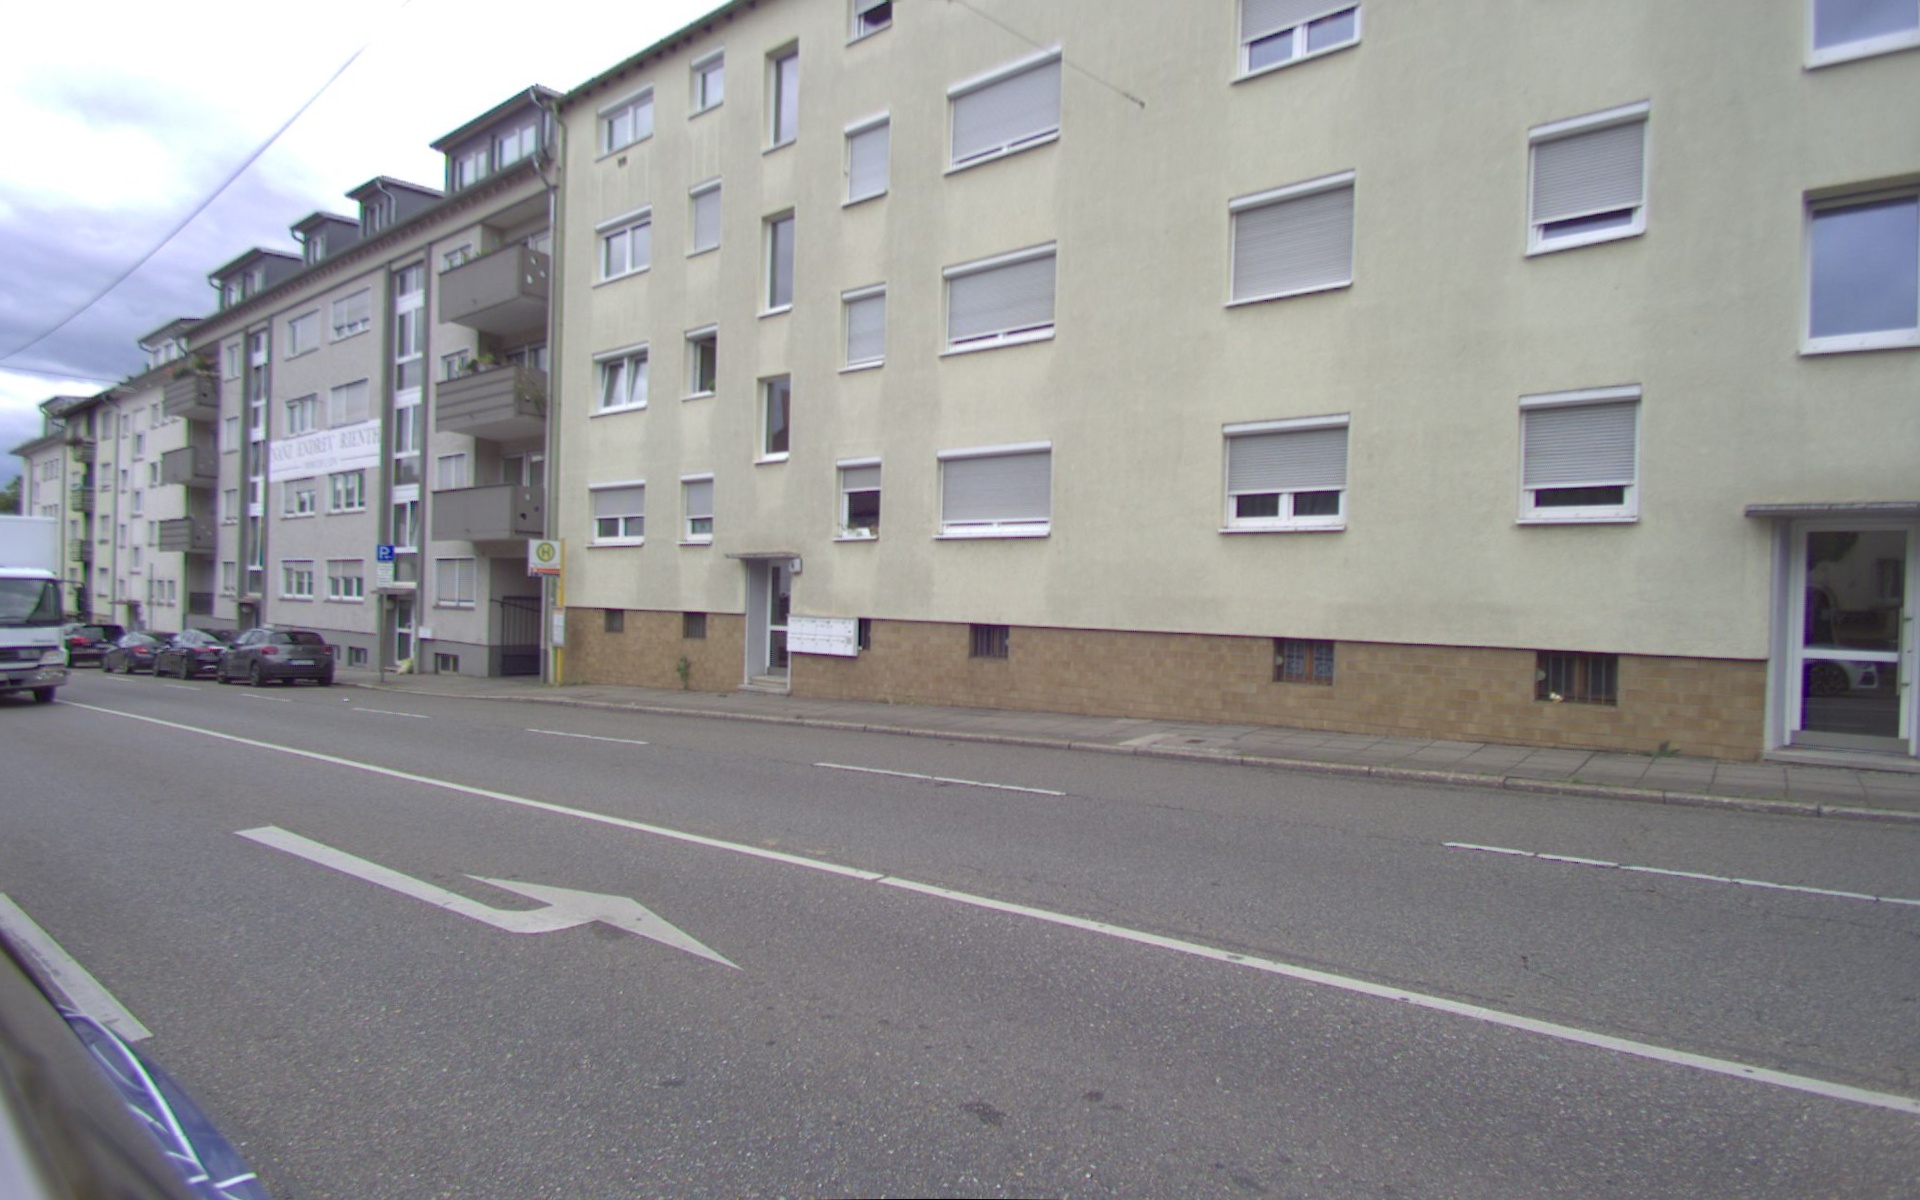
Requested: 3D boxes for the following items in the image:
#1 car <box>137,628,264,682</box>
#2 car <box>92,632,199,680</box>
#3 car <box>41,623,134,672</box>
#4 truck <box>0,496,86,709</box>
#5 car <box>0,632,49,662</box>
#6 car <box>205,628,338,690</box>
[{"bbox_3d":[-22.099,1.573,29.390,4.712,1.416,1.751,-1,-4,39],"label":"car"},{"bbox_3d":[-26.500,1.807,32.890,4.302,1.416,1.751,-1,-4,39],"label":"car"},{"bbox_3d":[-33.518,1.818,38.838,4.302,1.767,1.852,-1,-4,39],"label":"car"},{"bbox_3d":[-19.495,0.139,19.323,8.052,3.602,2.743,-2,-1,38],"label":"truck"},{"bbox_3d":[-46.419,2.270,49.718,4.305,1.391,1.851,-1,-4,41],"label":"car"},{"bbox_3d":[-17.760,1.496,26.062,3.797,1.447,1.751,-1,-4,39],"label":"car"}]
